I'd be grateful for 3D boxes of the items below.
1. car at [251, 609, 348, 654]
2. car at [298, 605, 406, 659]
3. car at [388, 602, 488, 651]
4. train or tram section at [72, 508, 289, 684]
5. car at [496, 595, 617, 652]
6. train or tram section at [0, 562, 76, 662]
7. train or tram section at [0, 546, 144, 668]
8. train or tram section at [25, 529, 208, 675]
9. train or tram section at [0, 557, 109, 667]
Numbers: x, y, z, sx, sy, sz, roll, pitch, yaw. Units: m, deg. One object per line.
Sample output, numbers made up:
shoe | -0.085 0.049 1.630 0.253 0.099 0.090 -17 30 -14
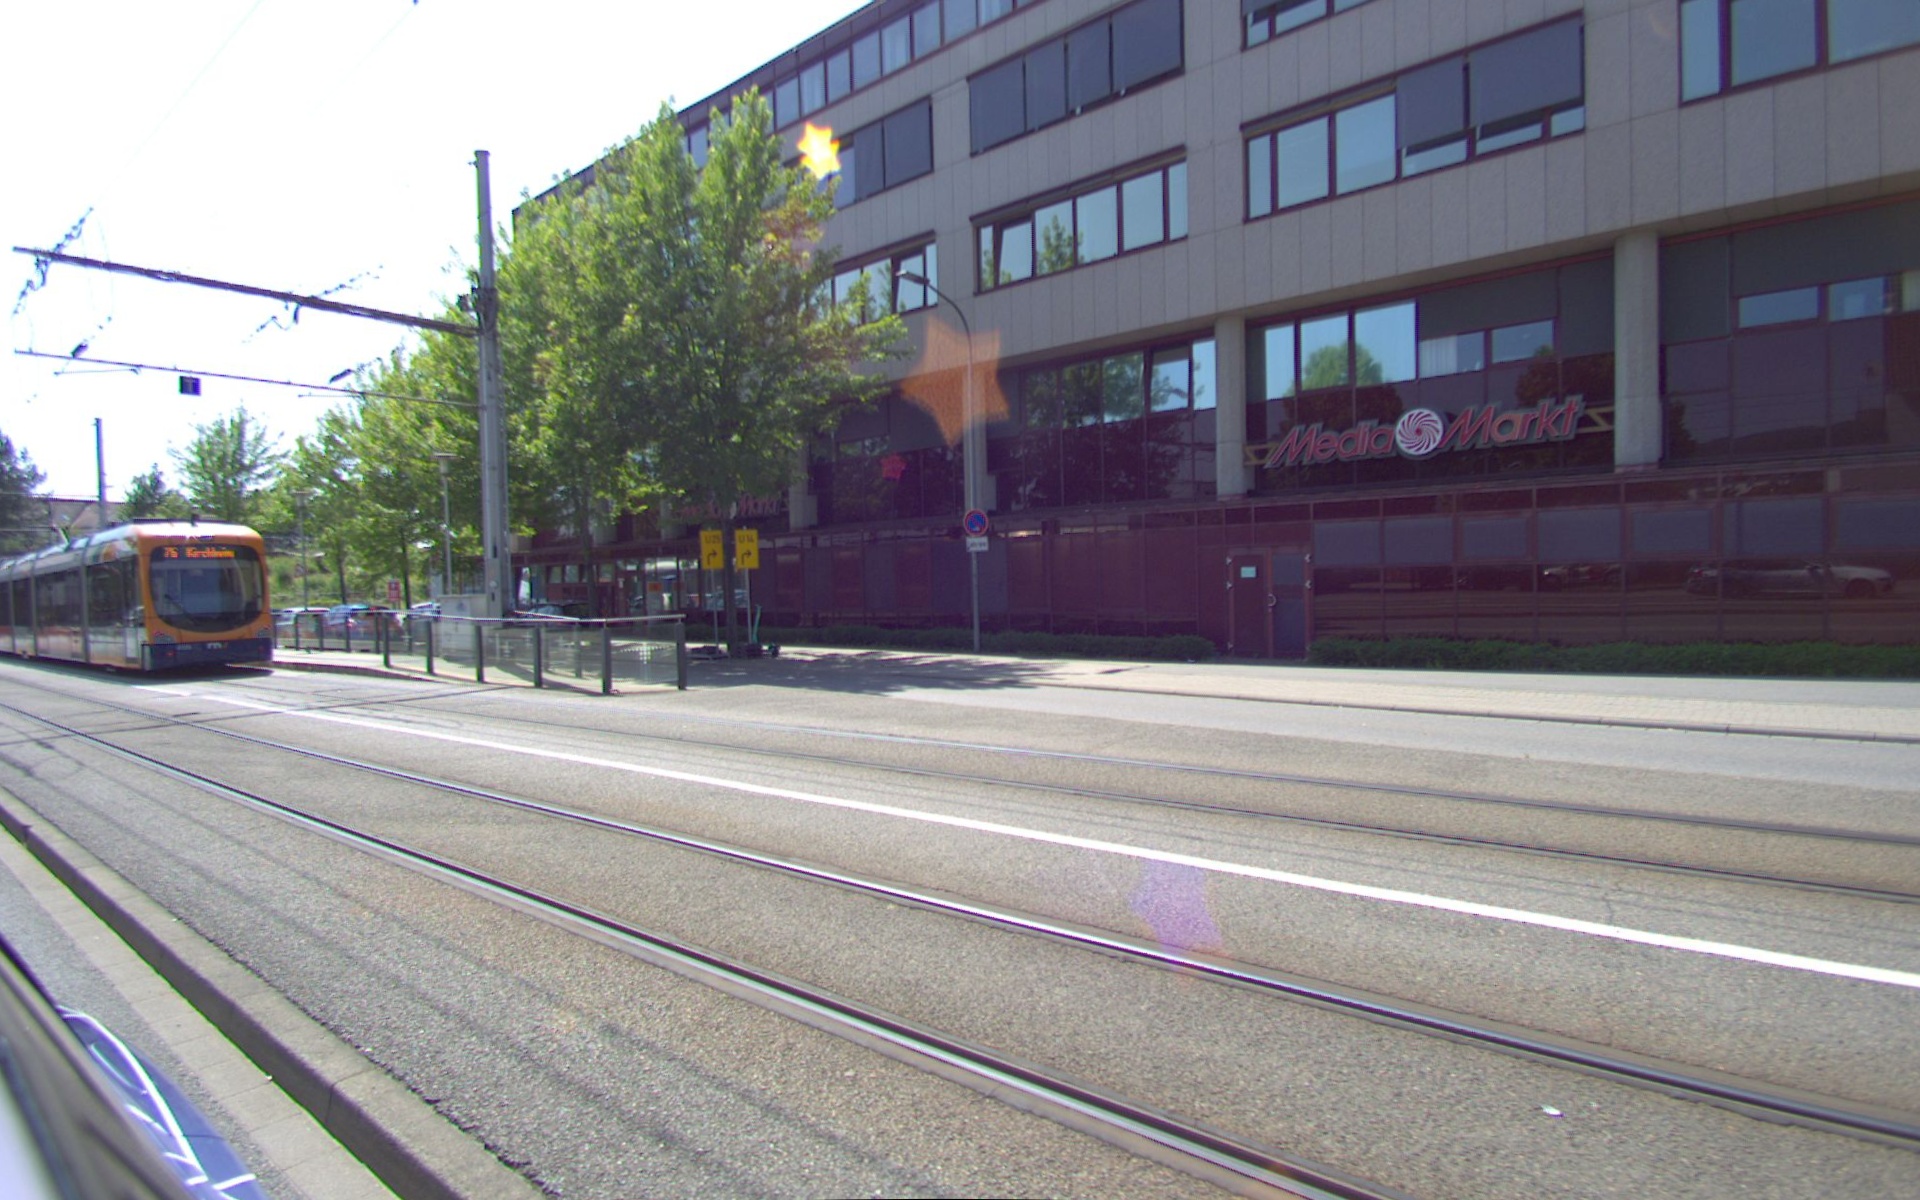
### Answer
car | -23.484 1.112 35.905 4.276 1.483 1.705 -1 0 40
car | -19.211 0.998 31.930 4.068 1.596 1.705 -1 -2 40
car | -17.947 0.907 34.744 3.903 1.474 1.705 -2 2 42
train or tram section | -17.818 -0.054 22.979 6.358 3.473 2.554 -2 1 40
car | -12.240 0.691 30.600 3.999 1.530 1.742 -1 1 42
train or tram section | -36.092 0.467 38.650 5.738 3.559 2.585 -2 1 40
train or tram section | -27.560 0.208 31.331 5.007 3.473 2.585 -2 1 40
train or tram section | -22.946 0.085 27.392 7.131 3.473 2.554 -2 1 40
train or tram section | -31.679 0.405 34.879 5.839 3.473 2.585 -2 1 40
